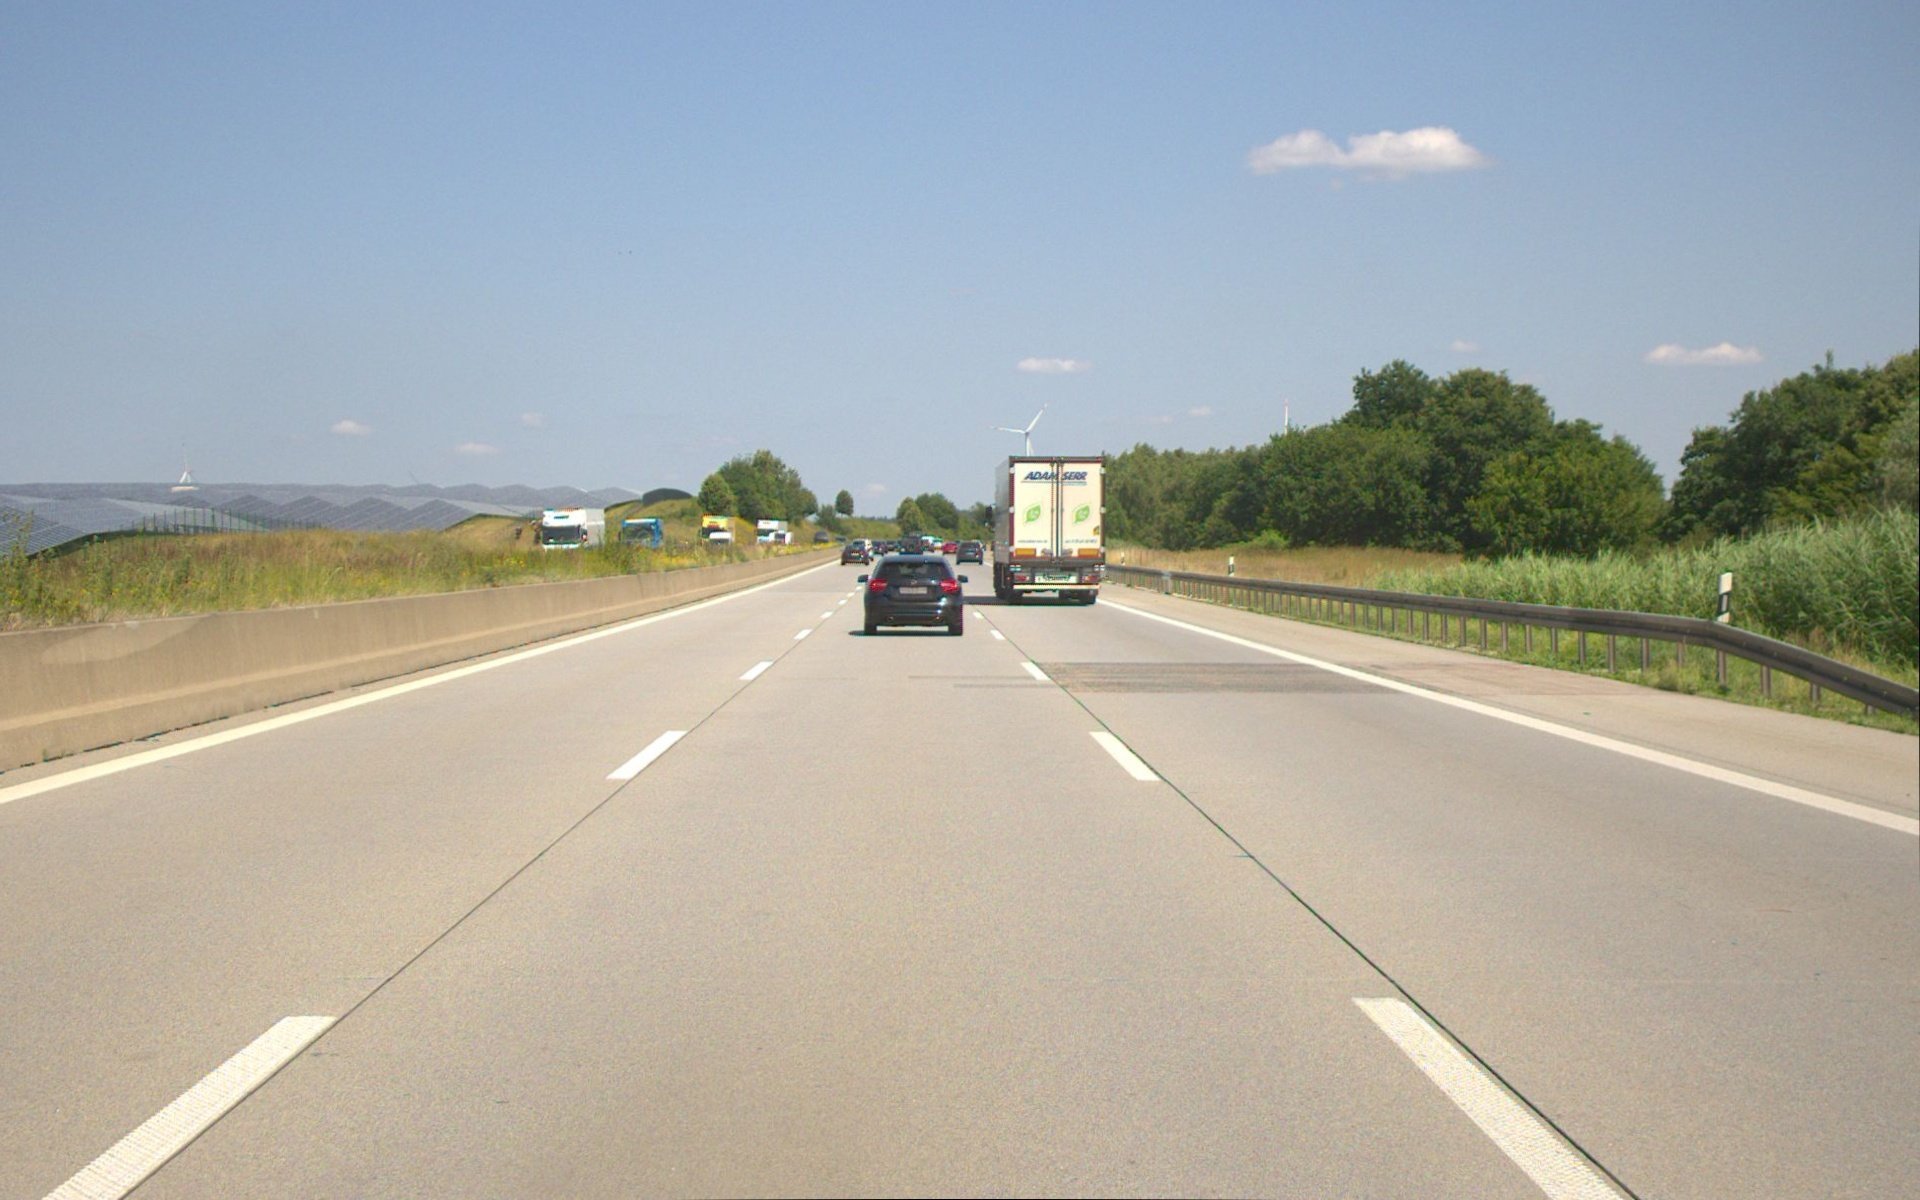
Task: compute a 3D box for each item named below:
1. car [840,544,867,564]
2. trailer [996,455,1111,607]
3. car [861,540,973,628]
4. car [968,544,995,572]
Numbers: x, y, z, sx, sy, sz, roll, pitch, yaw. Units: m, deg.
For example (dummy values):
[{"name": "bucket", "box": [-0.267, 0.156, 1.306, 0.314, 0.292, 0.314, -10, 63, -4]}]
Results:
[{"name": "car", "box": [-7.053, -3.066, 227.899, 1.655, 1.192, 3.960, 3, 1, -1]}, {"name": "trailer", "box": [2.553, -1.938, 98.212, 2.852, 4.029, 12.714, 1, 1, 0]}, {"name": "car", "box": [-0.793, -0.314, 62.039, 1.910, 1.487, 4.192, 1, 1, -1]}, {"name": "car", "box": [1.502, -2.895, 237.799, 1.827, 1.900, 4.000, 1, 1, 1]}]
